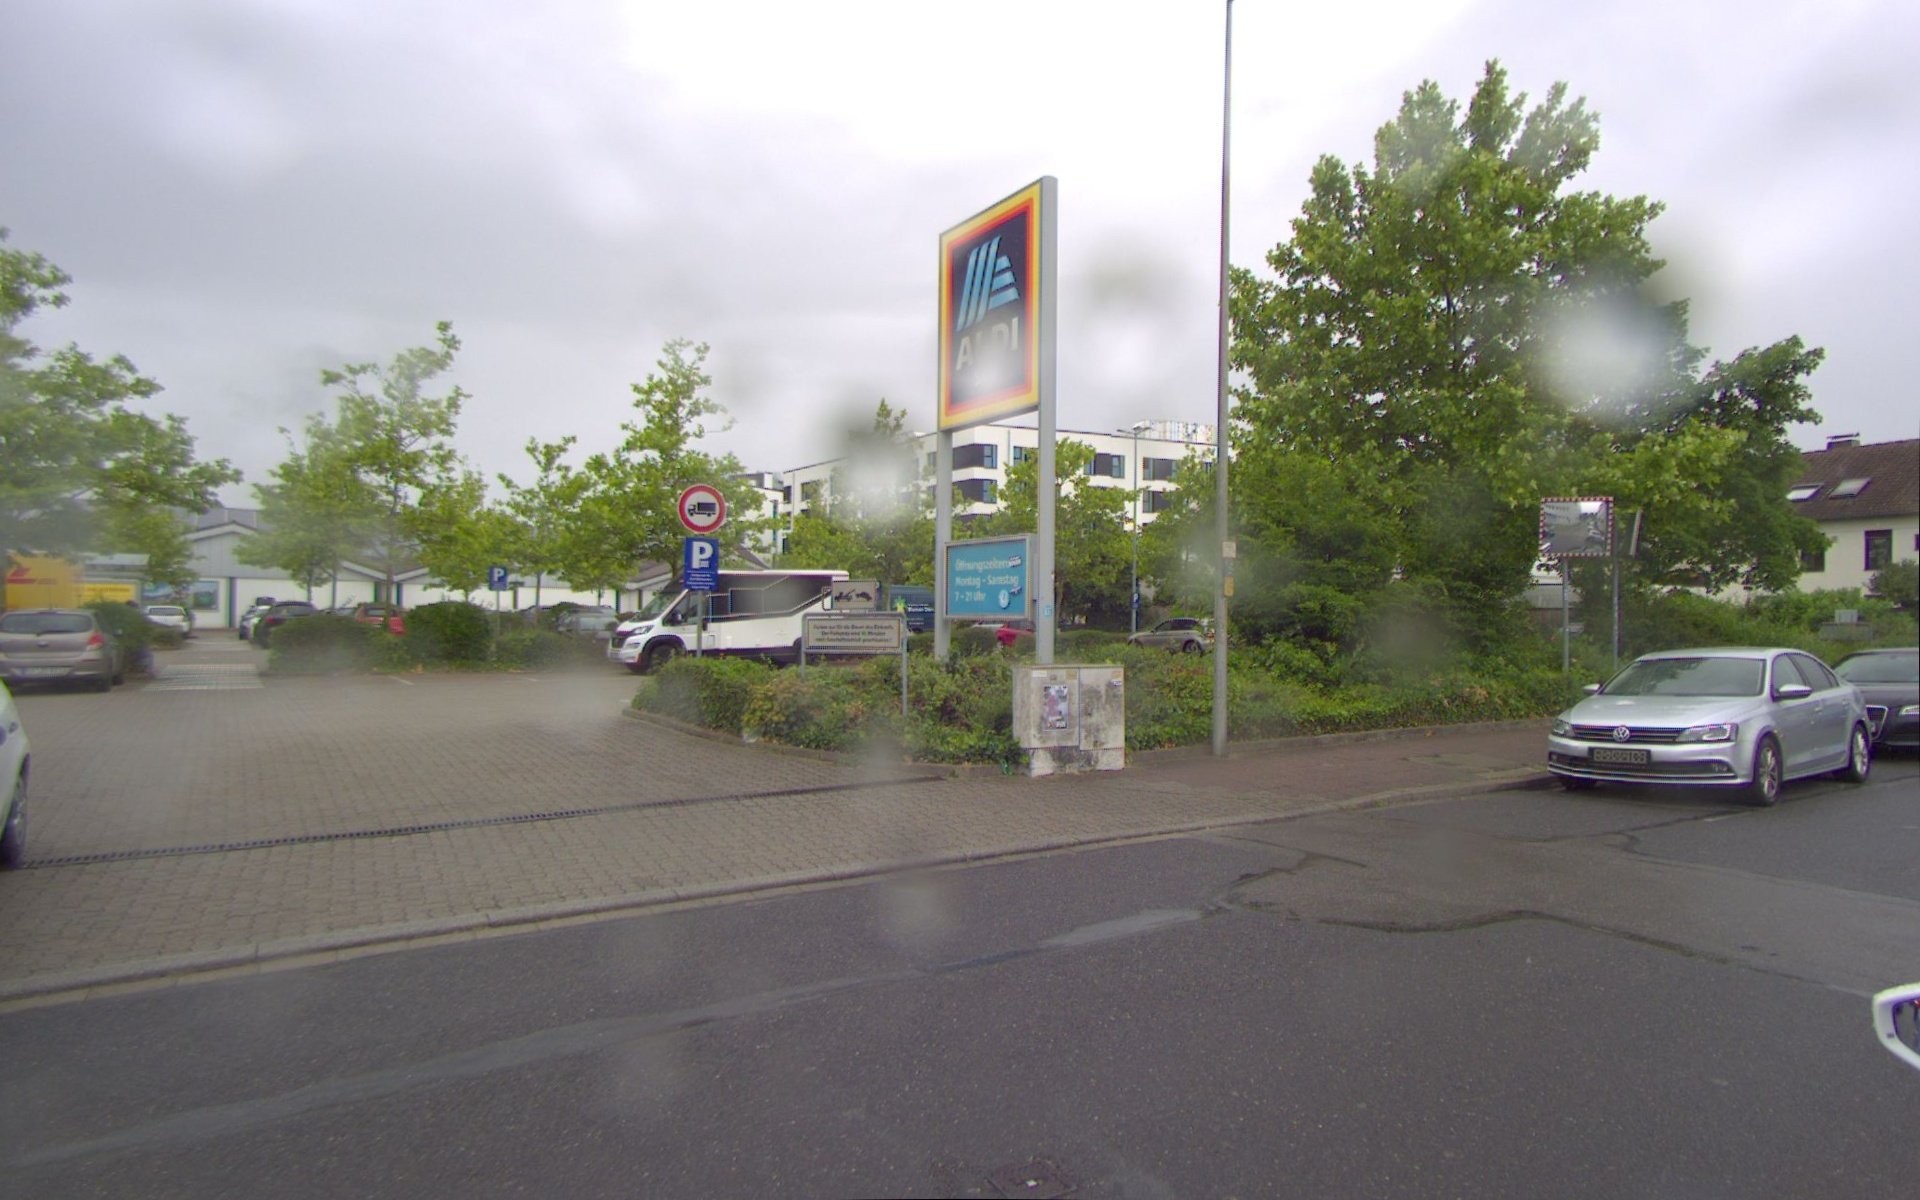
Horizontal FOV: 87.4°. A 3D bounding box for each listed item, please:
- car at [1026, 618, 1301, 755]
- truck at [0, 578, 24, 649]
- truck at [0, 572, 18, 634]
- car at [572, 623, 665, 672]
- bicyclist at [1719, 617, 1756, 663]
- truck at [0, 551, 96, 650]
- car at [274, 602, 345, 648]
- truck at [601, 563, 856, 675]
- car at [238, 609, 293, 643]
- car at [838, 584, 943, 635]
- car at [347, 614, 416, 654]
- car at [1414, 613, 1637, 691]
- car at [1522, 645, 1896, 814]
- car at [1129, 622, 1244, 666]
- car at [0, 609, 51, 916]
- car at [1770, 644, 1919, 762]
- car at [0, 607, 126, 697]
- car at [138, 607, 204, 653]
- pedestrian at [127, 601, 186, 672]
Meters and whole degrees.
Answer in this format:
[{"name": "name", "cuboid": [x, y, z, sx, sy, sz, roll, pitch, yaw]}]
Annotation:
[{"name": "car", "cuboid": [2.663, 1.070, 13.831, 1.694, 1.479, 3.548, 1, 1, -33]}, {"name": "truck", "cuboid": [-31.218, 0.356, 28.900, 6.080, 2.122, 1.978, 1, -1, -38]}, {"name": "truck", "cuboid": [-35.246, 0.046, 32.987, 6.080, 2.087, 1.978, 2, -1, -38]}, {"name": "car", "cuboid": [-10.346, 1.384, 30.294, 1.739, 1.320, 3.964, 1, -1, -33]}, {"name": "bicyclist", "cuboid": [26.187, 1.343, 33.854, 0.926, 1.537, 0.612, 0, -1, 34]}, {"name": "truck", "cuboid": [-27.347, -0.011, 26.731, 6.331, 2.636, 1.981, 1, -1, -35]}, {"name": "car", "cuboid": [-23.022, 0.872, 35.567, 1.979, 1.542, 3.964, 1, -1, -33]}, {"name": "truck", "cuboid": [-6.022, 0.533, 26.741, 6.337, 2.692, 1.979, 1, -1, -37]}, {"name": "car", "cuboid": [-33.066, 1.211, 47.904, 1.979, 1.542, 3.964, 1, -1, -33]}, {"name": "car", "cuboid": [-3.344, 0.497, 48.799, 4.766, 2.327, 1.980, 1, -1, -35]}, {"name": "car", "cuboid": [-21.229, 1.211, 36.775, 1.979, 1.363, 3.964, 1, -1, -33]}, {"name": "car", "cuboid": [12.555, 1.089, 22.520, 1.891, 1.561, 3.962, 1, -1, -34]}, {"name": "car", "cuboid": [7.894, 1.187, 10.447, 4.553, 1.385, 1.695, 1, -3, -34]}, {"name": "car", "cuboid": [8.411, 1.592, 37.601, 1.979, 1.519, 3.964, 1, -1, -33]}, {"name": "car", "cuboid": [-5.350, 0.799, 4.384, 1.697, 1.479, 4.158, 1, 0, -38]}, {"name": "car", "cuboid": [12.686, 1.289, 13.468, 3.796, 1.385, 1.696, 1, -3, -33]}, {"name": "car", "cuboid": [-16.624, 0.894, 18.540, 1.697, 1.479, 4.159, 1, -2, -38]}, {"name": "car", "cuboid": [-36.474, 1.356, 46.528, 1.978, 2.040, 3.964, 1, -1, -33]}, {"name": "pedestrian", "cuboid": [-19.401, 0.872, 24.262, 0.762, 1.656, 0.770, 1, -1, 13]}]
